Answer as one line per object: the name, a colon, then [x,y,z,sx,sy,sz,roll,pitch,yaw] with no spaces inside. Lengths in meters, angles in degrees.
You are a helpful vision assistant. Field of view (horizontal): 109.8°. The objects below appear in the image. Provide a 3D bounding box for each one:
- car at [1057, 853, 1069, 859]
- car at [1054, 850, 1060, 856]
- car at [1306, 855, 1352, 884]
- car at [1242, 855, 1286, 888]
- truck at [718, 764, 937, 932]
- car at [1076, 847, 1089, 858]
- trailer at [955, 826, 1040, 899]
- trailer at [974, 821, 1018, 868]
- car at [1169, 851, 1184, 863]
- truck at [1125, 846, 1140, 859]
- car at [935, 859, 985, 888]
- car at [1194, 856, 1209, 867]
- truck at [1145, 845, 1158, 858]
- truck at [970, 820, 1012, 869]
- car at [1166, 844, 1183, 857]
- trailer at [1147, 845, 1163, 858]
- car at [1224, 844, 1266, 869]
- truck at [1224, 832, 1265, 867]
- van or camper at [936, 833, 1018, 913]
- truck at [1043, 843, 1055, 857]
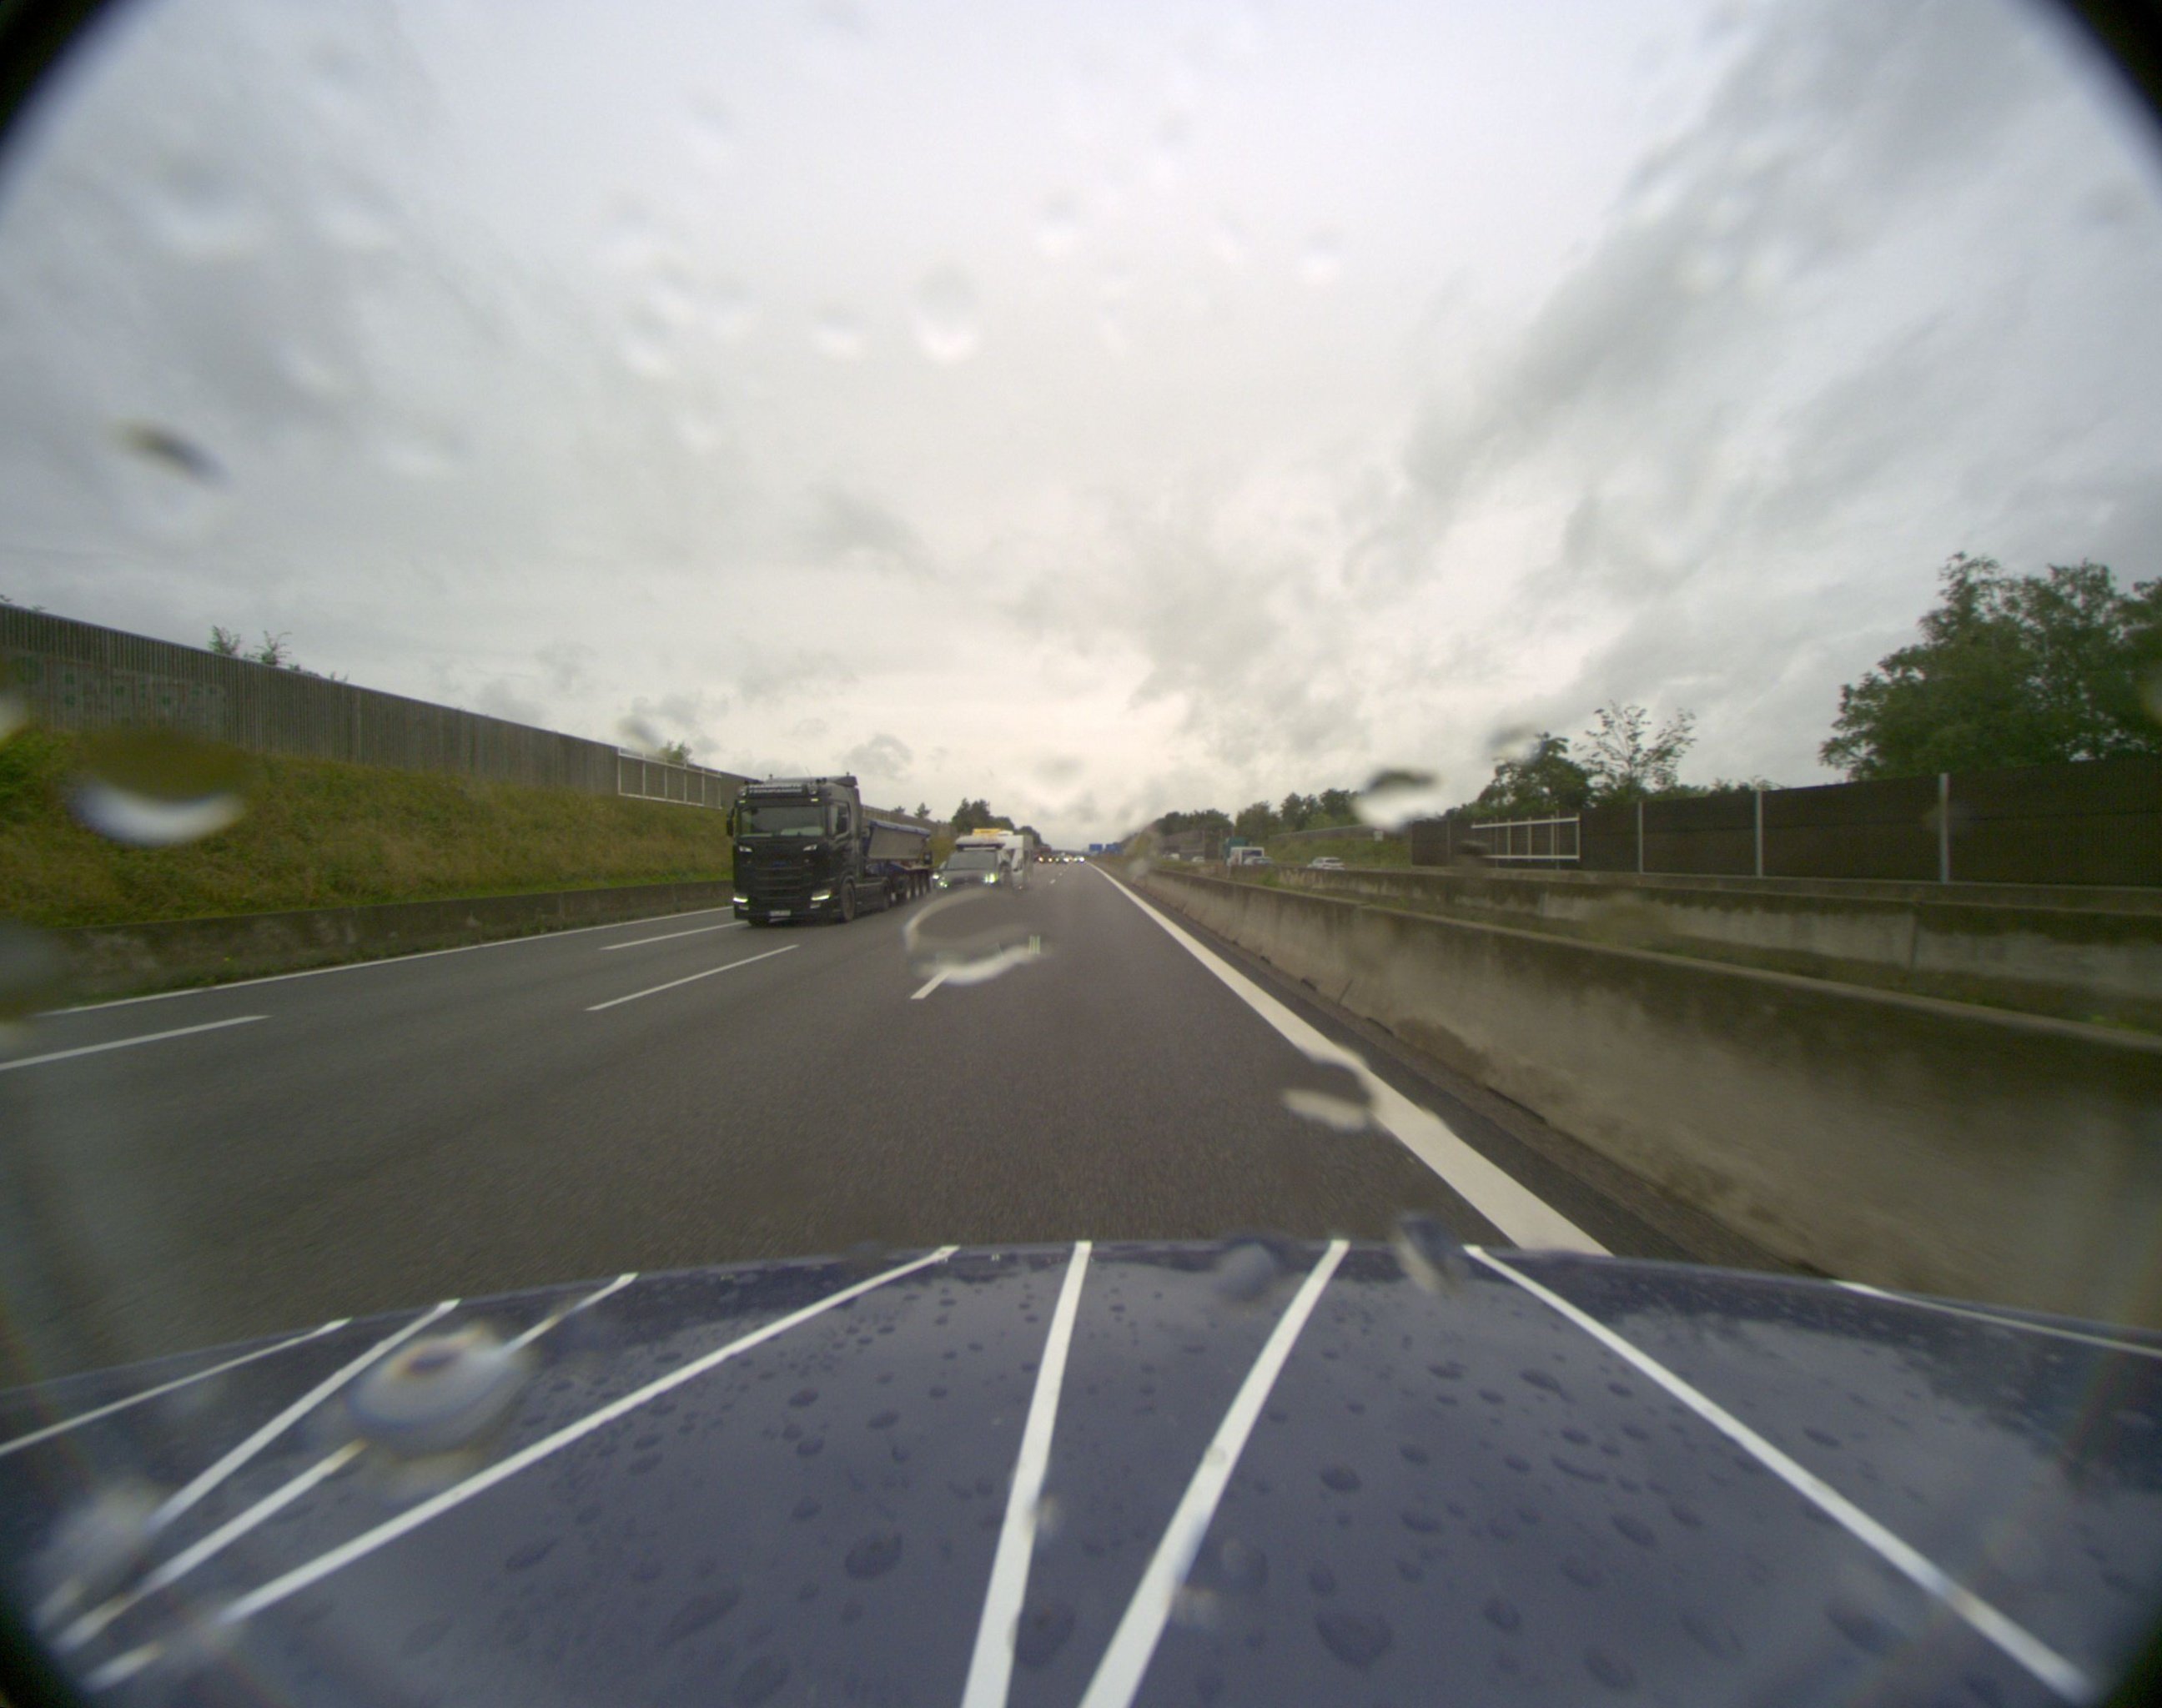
car: [-3.255,0.382,140.183,2.061,1.020,3.437,-2,1,0]
car: [-7.821,-0.289,249.805,1.999,1.747,3.999,-1,0,0]
car: [18.313,1.132,56.308,1.999,1.969,3.999,-2,0,-1]
car: [11.505,1.079,47.981,1.873,1.911,4.000,-2,0,1]
truck: [-7.174,-0.188,24.259,2.820,3.927,12.711,0,1,-1]
car: [0.304,-0.315,166.691,2.680,2.340,5.807,-1,0,-3]
trailer: [-3.253,0.317,31.557,2.728,2.627,7.511,-1,0,0]
trailer: [-7.967,-0.901,73.766,2.658,3.930,16.682,-2,1,-1]
car: [17.499,0.567,139.224,1.912,2.002,5.953,-2,0,0]
truck: [13.289,-0.421,196.868,2.963,3.049,8.726,-2,1,0]
car: [-6.804,1.068,43.240,1.945,1.419,5.288,-2,0,0]
car: [18.154,1.134,114.457,1.656,1.482,3.295,-2,1,1]
truck: [17.527,-0.635,188.532,2.628,3.002,5.176,-2,1,-1]
truck: [-7.737,-0.822,66.519,2.693,3.935,9.324,-2,1,-2]
car: [14.736,-0.526,120.123,1.998,2.002,5.618,-2,0,2]
trailer: [17.639,-0.592,182.042,2.618,2.972,10.795,-2,0,-1]
car: [14.435,0.179,67.247,2.219,2.002,7.058,-2,0,0]
truck: [18.595,-0.529,87.028,2.870,3.816,7.521,-2,1,0]
van or camper: [-3.245,0.571,24.868,1.895,2.256,5.679,-2,0,-1]
truck: [-7.450,-0.979,178.733,2.617,3.218,4.632,-1,0,0]
